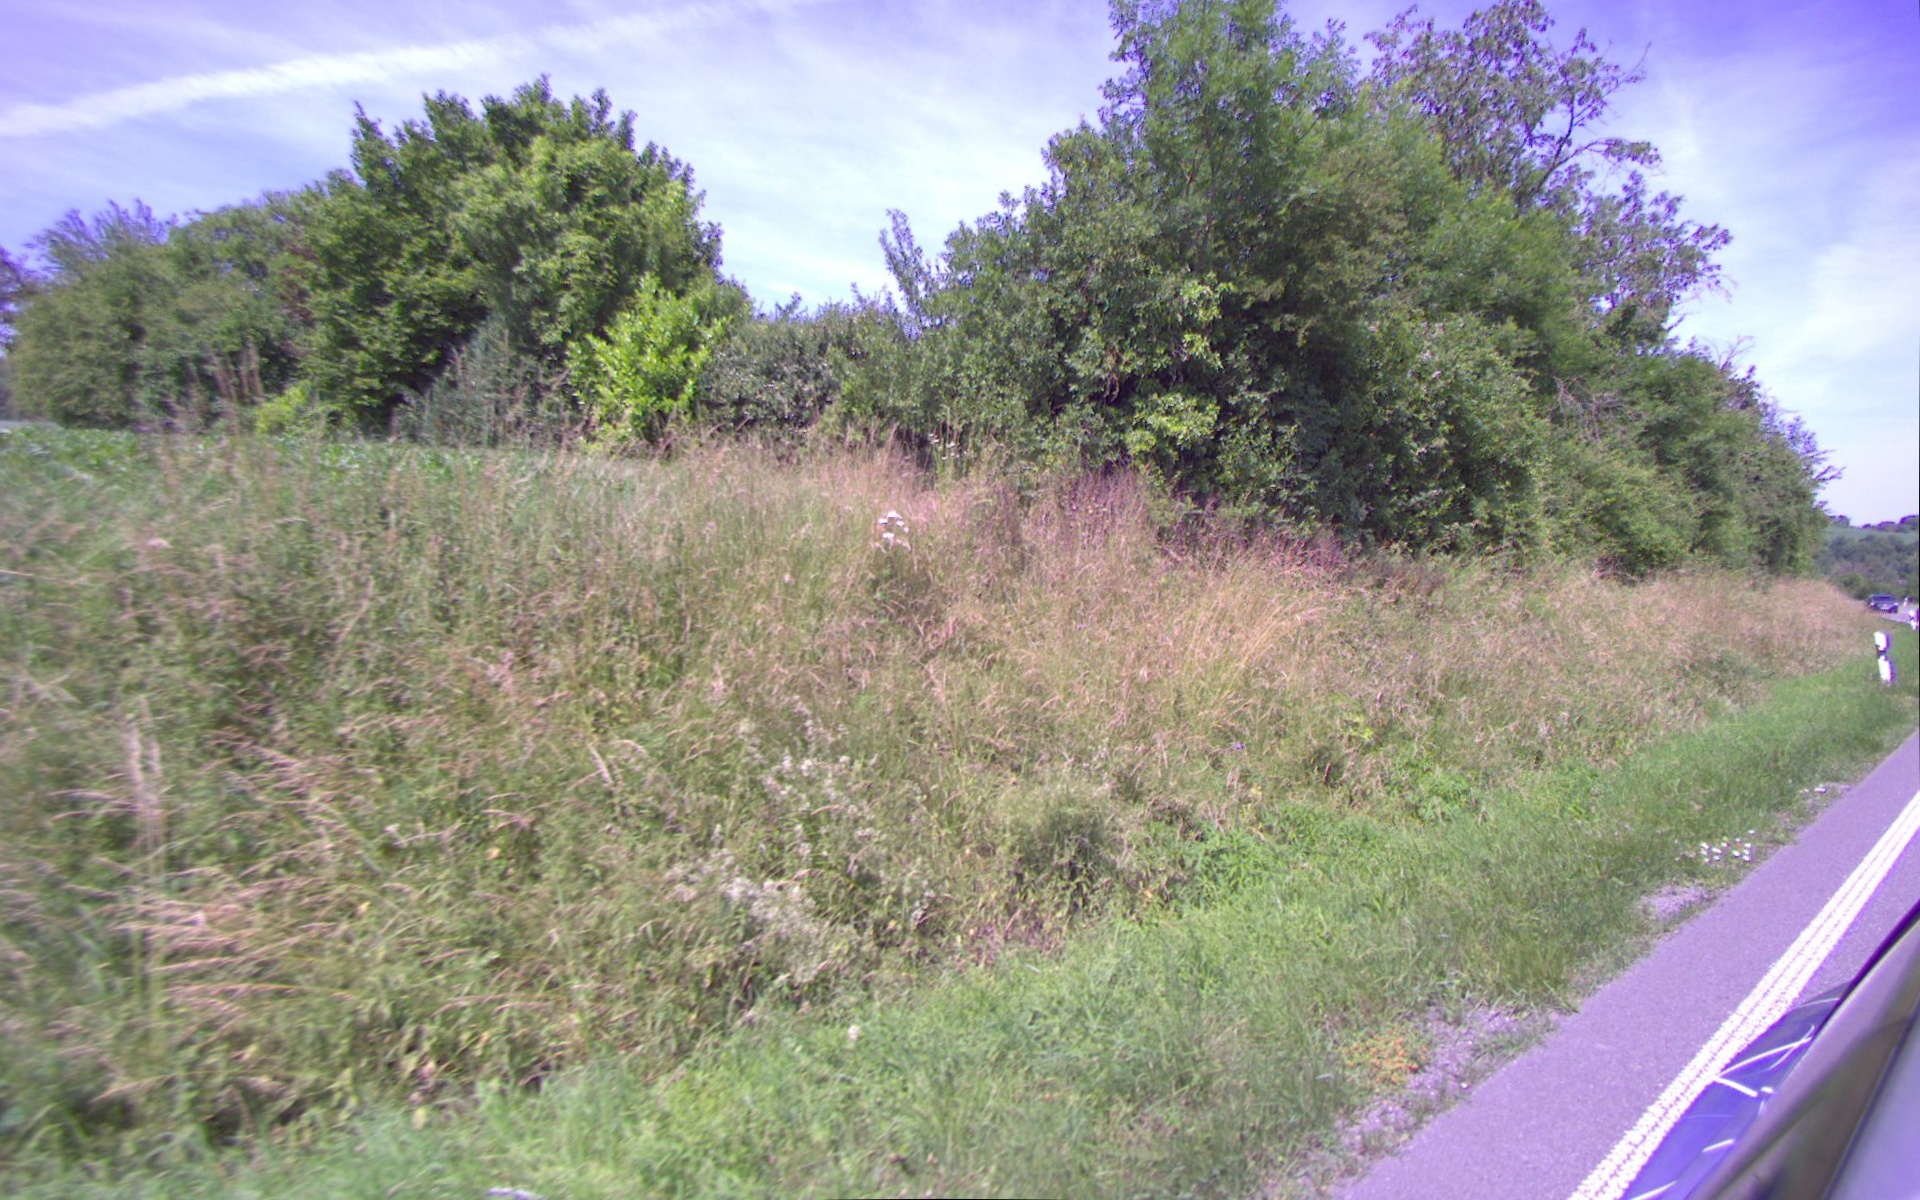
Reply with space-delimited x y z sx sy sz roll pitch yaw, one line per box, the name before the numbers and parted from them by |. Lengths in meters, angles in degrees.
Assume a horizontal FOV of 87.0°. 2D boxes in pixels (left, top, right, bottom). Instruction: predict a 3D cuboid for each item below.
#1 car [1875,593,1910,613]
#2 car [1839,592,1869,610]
car | 75.134 0.262 81.568 1.817 1.538 3.944 1 1 39
car | 88.950 0.103 100.732 1.655 1.671 3.953 1 1 33
